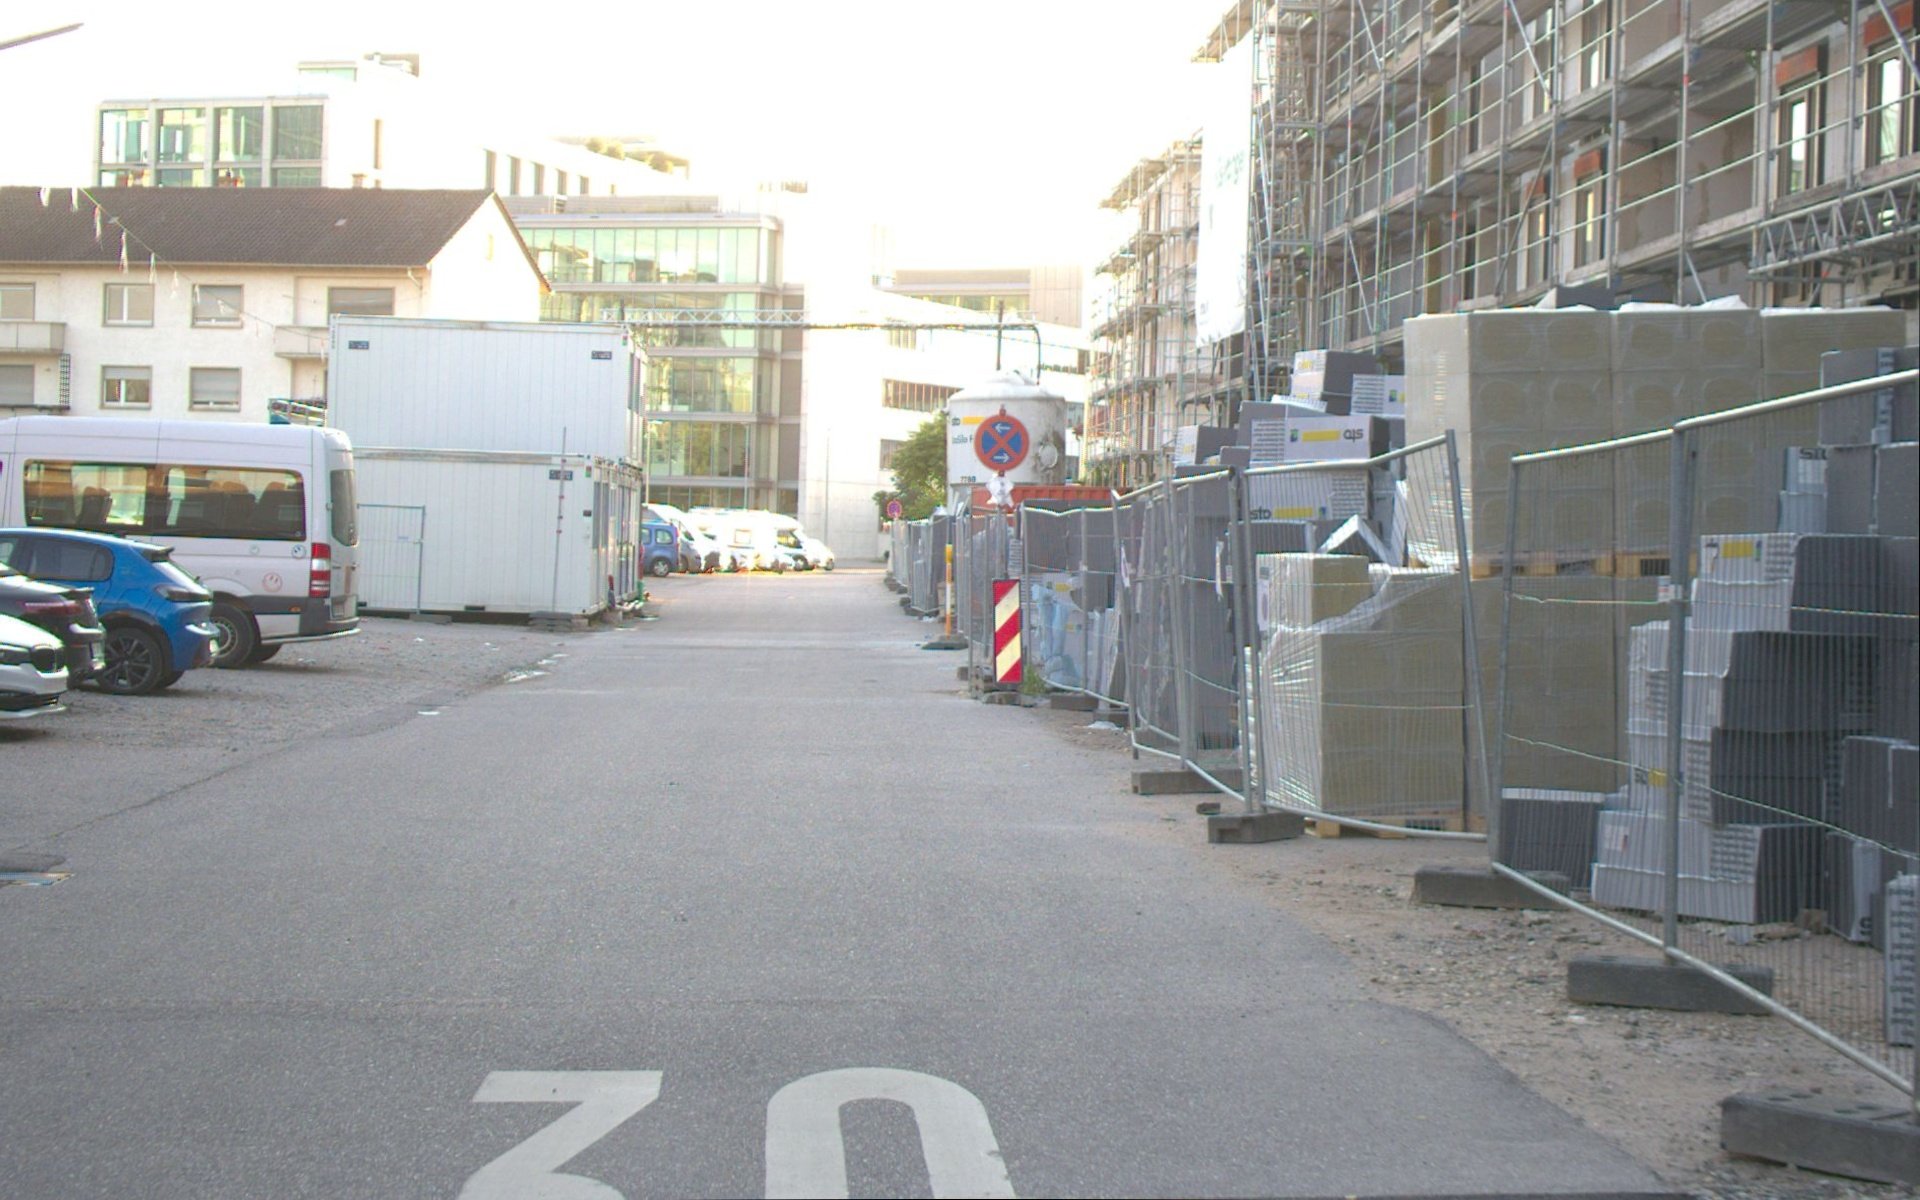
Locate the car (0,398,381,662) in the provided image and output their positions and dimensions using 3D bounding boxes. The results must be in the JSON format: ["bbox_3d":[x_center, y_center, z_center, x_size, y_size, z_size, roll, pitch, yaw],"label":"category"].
[{"bbox_3d":[-9.390,-0.808,37.446,5.689,2.617,2.222,3,1,0],"label":"car"}]

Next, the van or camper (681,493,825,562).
[{"bbox_3d":[-9.742,-3.408,162.103,6.335,2.968,2.292,2,1,11],"label":"van or camper"}]

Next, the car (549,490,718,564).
[{"bbox_3d":[-12.594,-2.825,132.890,6.327,2.731,2.000,1,1,-1],"label":"car"}]

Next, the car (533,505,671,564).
[{"bbox_3d":[-12.007,-2.208,115.087,4.502,1.862,2.001,1,1,-7],"label":"car"}]

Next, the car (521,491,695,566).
[{"bbox_3d":[-13.183,-2.696,129.119,6.327,2.642,2.000,1,1,-1],"label":"car"}]

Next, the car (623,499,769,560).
[{"bbox_3d":[-11.382,-3.061,148.316,5.926,2.481,1.999,2,1,9],"label":"car"}]

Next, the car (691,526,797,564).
[{"bbox_3d":[-9.830,-2.513,156.431,4.505,1.642,2.000,1,1,7],"label":"car"}]

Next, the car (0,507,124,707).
[{"bbox_3d":[-9.170,-0.042,27.818,4.415,1.539,1.728,3,1,-5],"label":"car"}]

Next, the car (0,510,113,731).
[{"bbox_3d":[-9.068,-0.009,25.479,4.993,1.539,2.116,4,1,0],"label":"car"}]

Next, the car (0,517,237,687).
[{"bbox_3d":[-8.729,-0.036,31.600,3.836,1.424,1.728,3,1,-4],"label":"car"}]
